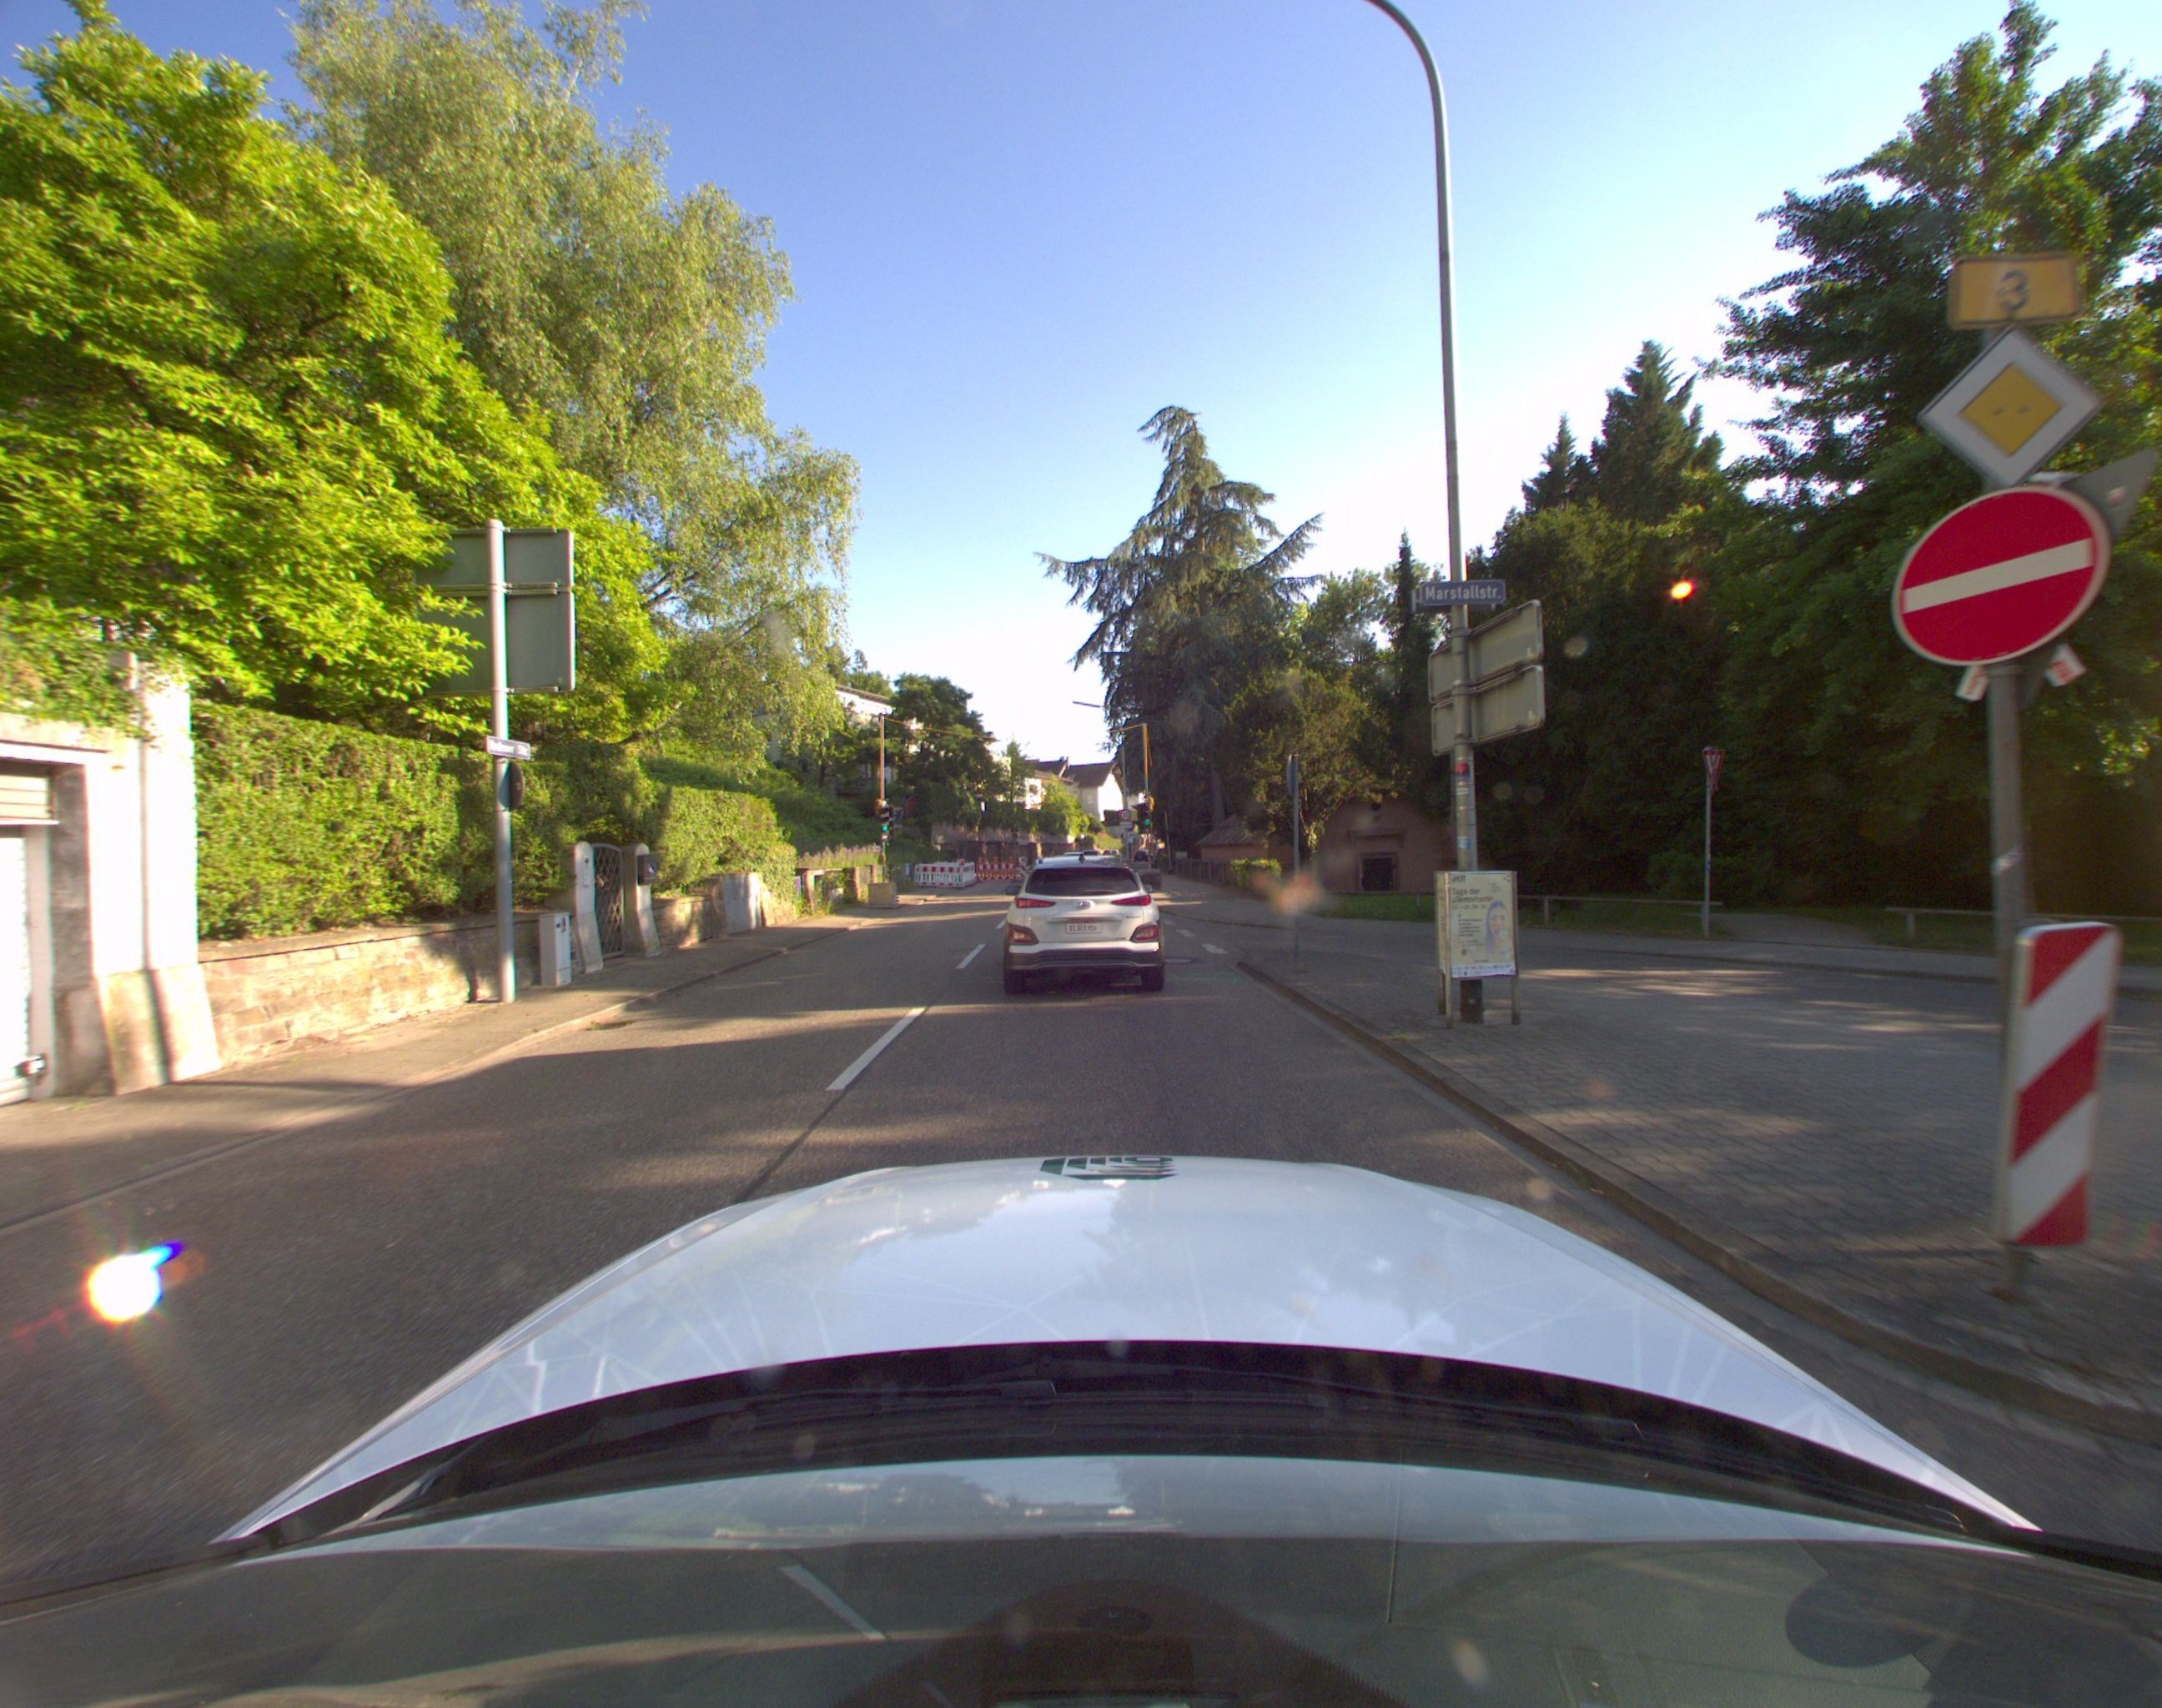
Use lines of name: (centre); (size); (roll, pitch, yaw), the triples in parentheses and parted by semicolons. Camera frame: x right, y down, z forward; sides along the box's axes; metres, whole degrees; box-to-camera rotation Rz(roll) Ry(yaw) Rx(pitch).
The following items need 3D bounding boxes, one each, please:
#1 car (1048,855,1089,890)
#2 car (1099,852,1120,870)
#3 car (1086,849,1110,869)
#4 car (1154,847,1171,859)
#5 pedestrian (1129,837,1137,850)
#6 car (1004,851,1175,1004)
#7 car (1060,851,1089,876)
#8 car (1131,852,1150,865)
car: (-0.550, 0.766, 35.727); (1.703, 1.434, 4.363); (0, 0, -1)
car: (2.988, 0.685, 84.697); (1.822, 1.740, 4.007); (-1, 0, 6)
car: (1.497, 0.415, 69.892); (1.823, 1.662, 4.006); (0, 0, 5)
car: (11.408, -0.145, 114.253); (1.818, 1.662, 4.016); (0, 0, 14)
pedestrian: (7.765, -1.528, 121.540); (1.071, 1.912, 0.844); (0, 0, 15)
car: (-0.053, 0.762, 10.600); (1.817, 1.574, 3.994); (0, 0, -4)
car: (-0.411, 0.607, 52.773); (1.800, 1.537, 3.999); (0, 0, -1)
car: (7.415, 0.534, 100.717); (1.819, 1.662, 4.013); (0, 0, 12)
